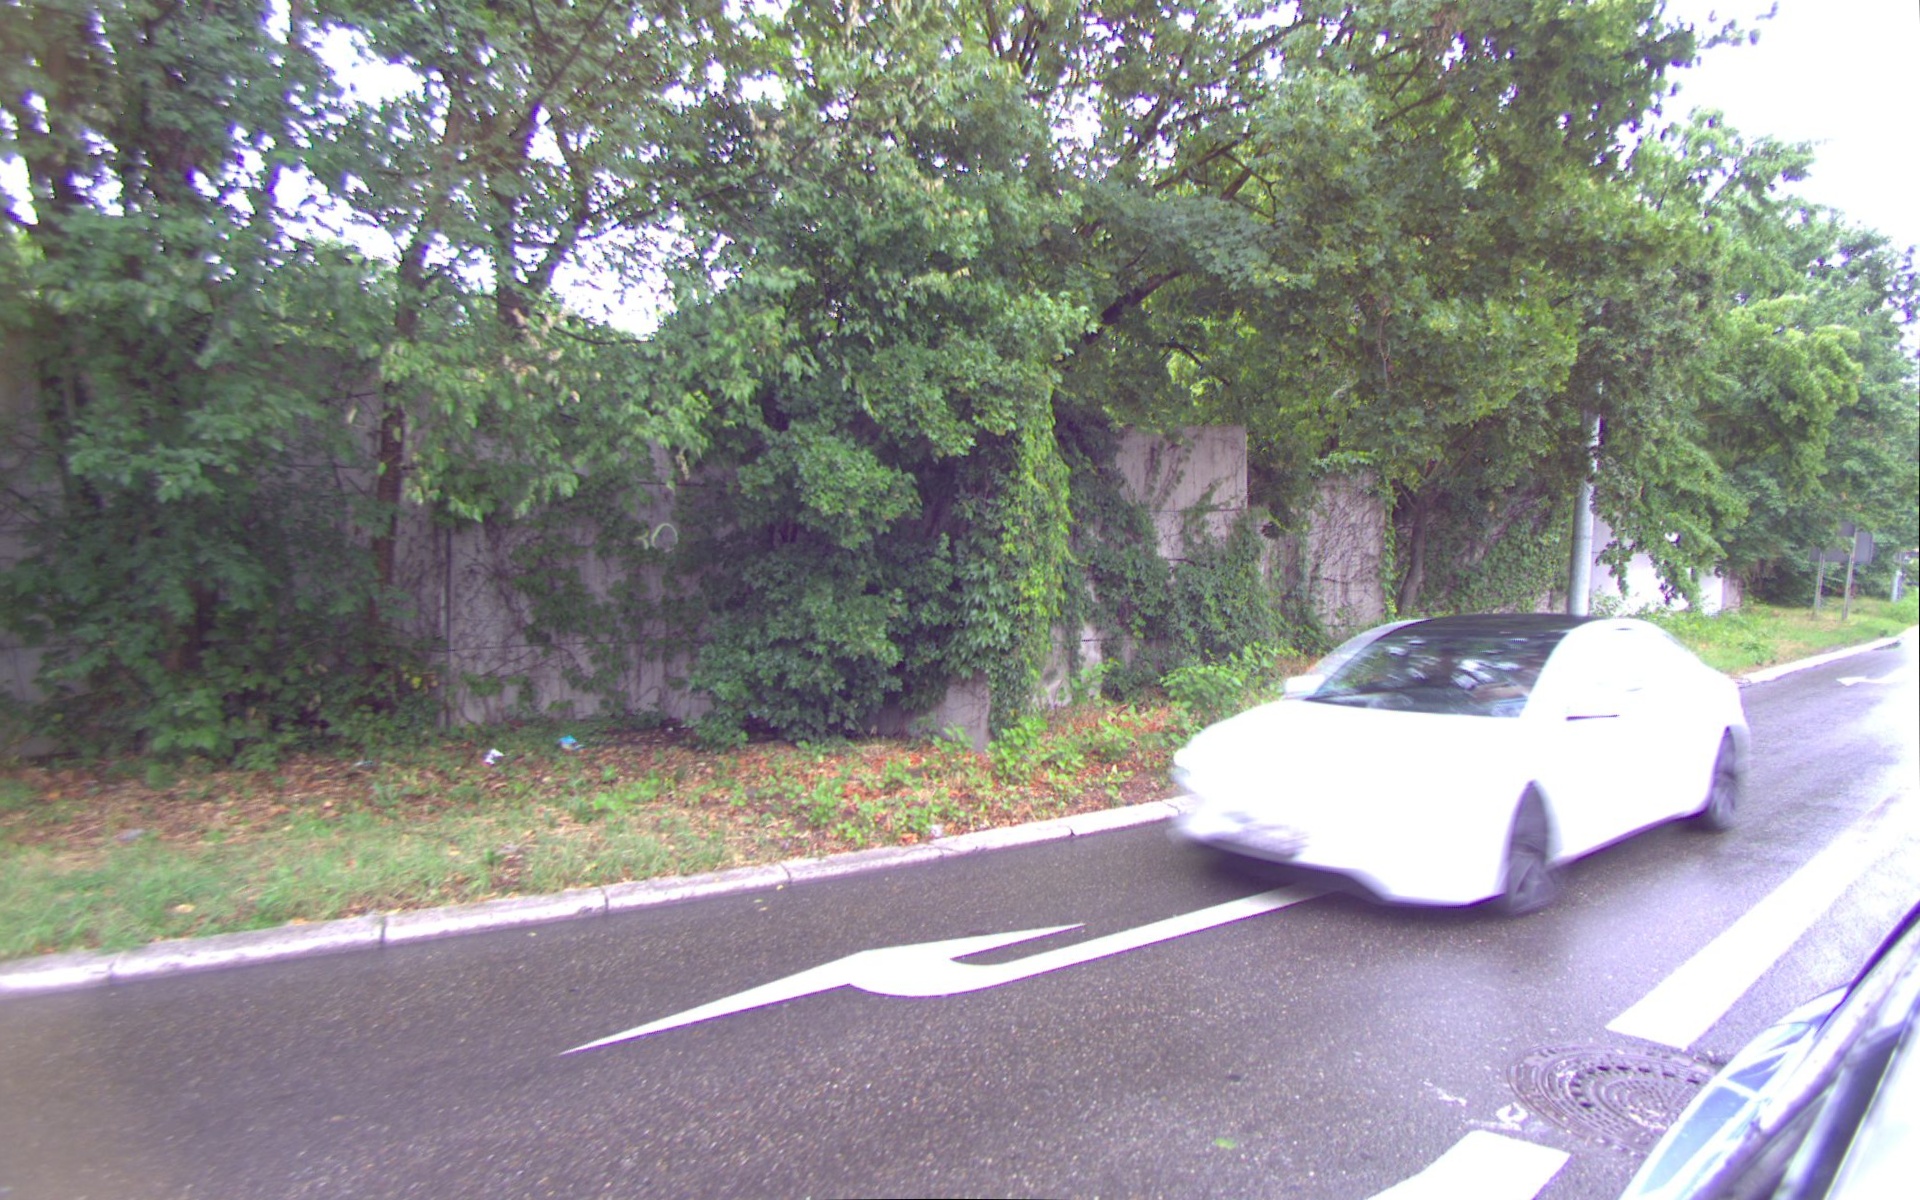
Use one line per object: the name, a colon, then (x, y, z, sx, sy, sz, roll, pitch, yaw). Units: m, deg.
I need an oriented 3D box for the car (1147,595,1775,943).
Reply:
car: (3.295, 0.713, 6.334, 4.194, 1.450, 1.840, -1, 0, -37)
